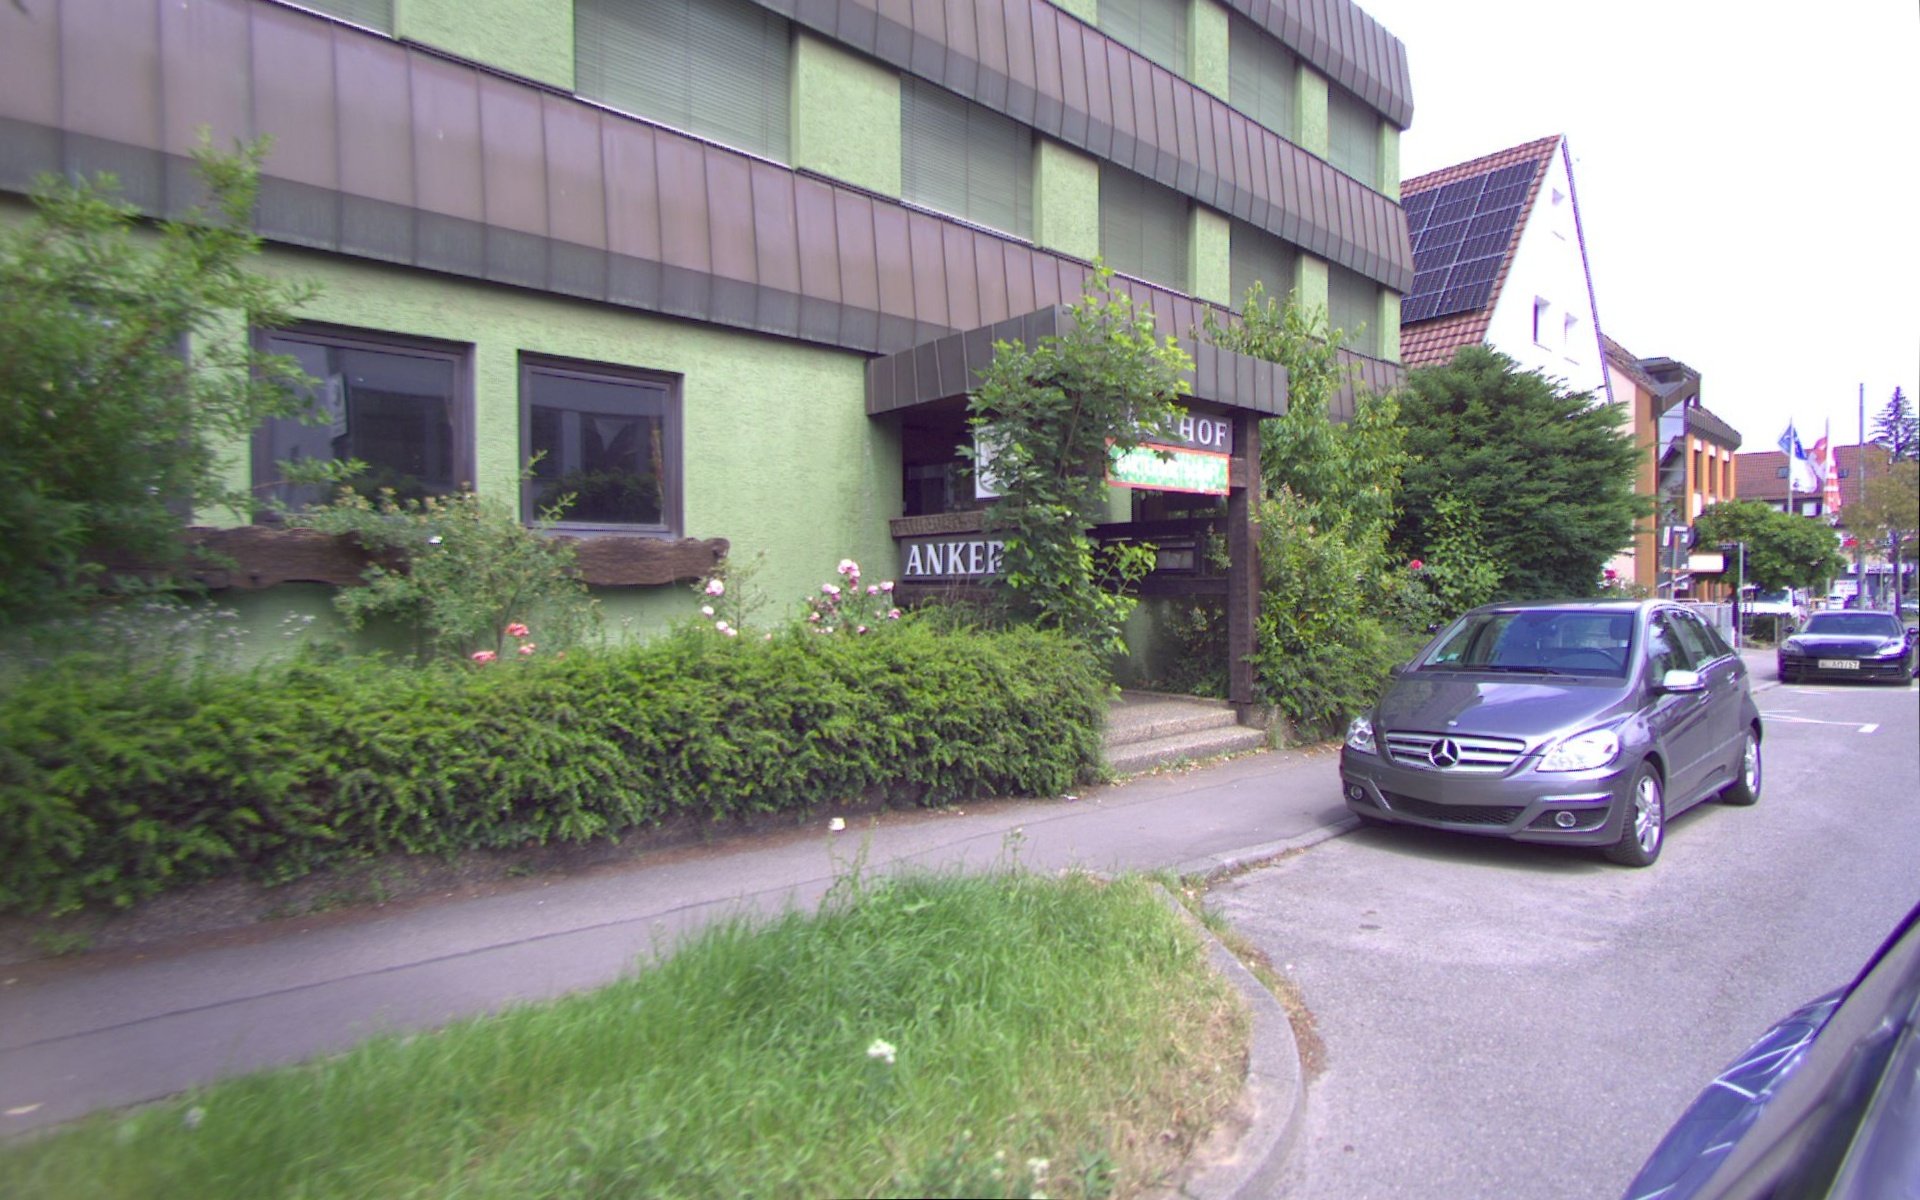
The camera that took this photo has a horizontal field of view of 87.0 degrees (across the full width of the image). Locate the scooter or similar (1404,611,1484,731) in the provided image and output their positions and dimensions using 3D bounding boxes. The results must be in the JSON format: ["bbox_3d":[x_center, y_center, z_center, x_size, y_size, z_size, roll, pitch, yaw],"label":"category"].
[{"bbox_3d":[5.660,0.794,11.813,1.380,1.321,0.301,1,2,-43],"label":"scooter or similar"}]

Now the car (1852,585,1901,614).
[{"bbox_3d":[58.180,-0.031,64.230,4.086,1.614,1.620,-1,7,-40],"label":"car"}]

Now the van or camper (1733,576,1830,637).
[{"bbox_3d":[30.004,0.208,36.925,4.467,2.057,1.870,-1,0,-40],"label":"van or camper"}]

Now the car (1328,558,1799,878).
[{"bbox_3d":[4.617,0.630,7.427,4.384,1.687,1.693,1,0,-41],"label":"car"}]

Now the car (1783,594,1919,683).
[{"bbox_3d":[17.997,0.666,20.077,4.672,1.466,1.986,-1,2,-43],"label":"car"}]

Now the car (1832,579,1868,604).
[{"bbox_3d":[63.685,-0.618,72.413,1.635,1.546,4.138,6,6,44],"label":"car"}]

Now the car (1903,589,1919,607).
[{"bbox_3d":[75.756,-0.163,79.892,1.785,1.332,4.411,2,2,44],"label":"car"}]
